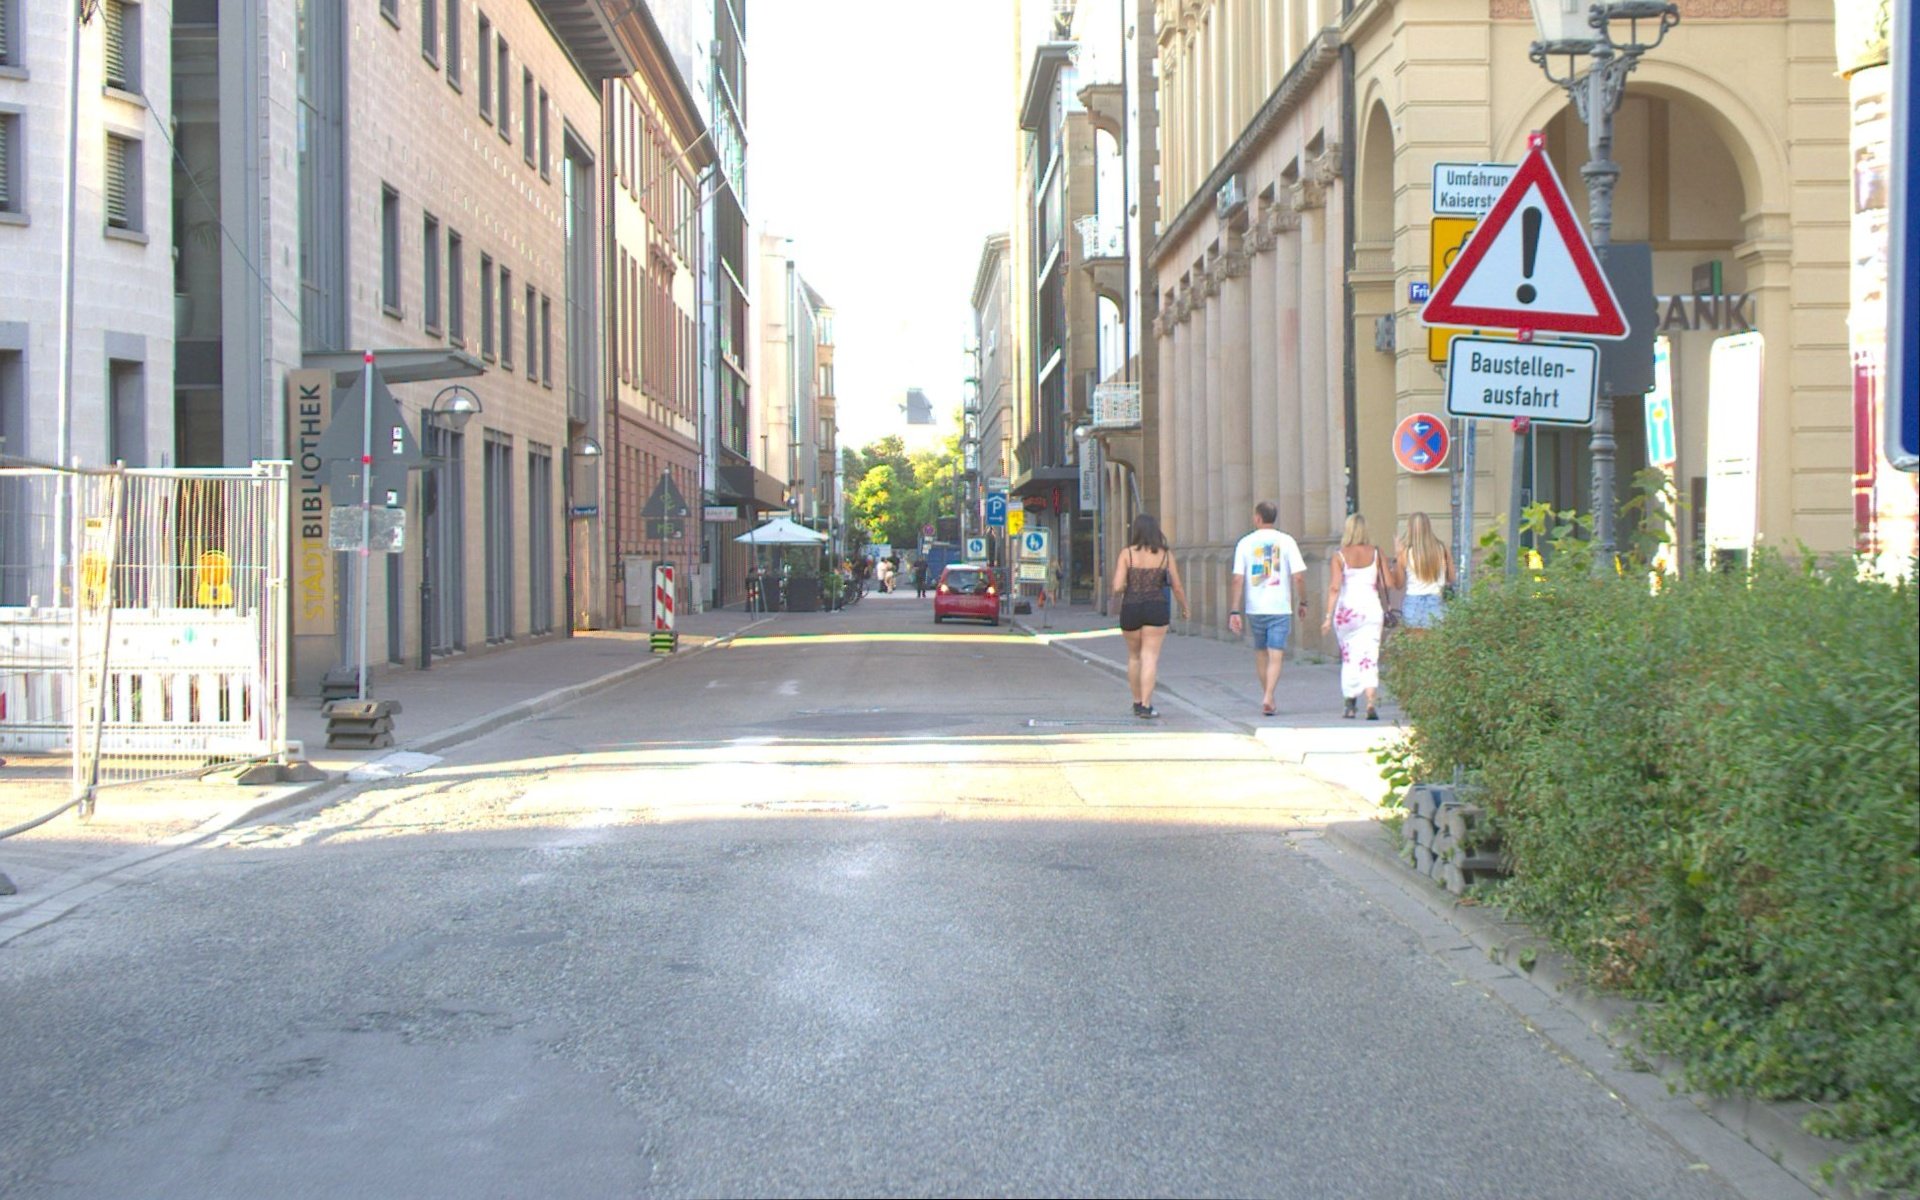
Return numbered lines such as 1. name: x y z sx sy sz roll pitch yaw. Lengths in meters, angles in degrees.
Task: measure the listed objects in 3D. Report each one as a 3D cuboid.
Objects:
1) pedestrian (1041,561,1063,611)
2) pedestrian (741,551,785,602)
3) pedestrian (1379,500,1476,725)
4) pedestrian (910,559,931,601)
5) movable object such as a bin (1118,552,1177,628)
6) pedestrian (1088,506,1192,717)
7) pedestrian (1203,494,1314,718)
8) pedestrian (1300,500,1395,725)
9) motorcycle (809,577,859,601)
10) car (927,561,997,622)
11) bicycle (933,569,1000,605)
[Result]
1. pedestrian: 2.740 -0.429 102.408 0.656 1.482 0.493 -1 0 1
2. pedestrian: -5.810 -0.690 101.555 1.290 1.482 0.661 0 0 -3
3. pedestrian: 3.801 0.093 27.995 0.636 1.797 0.772 -1 0 -2
4. pedestrian: -1.658 -0.834 143.270 0.865 1.707 0.852 0 0 -1
5. movable object such as a bin: 3.522 -0.197 64.734 0.990 1.387 1.241 -1 1 -1
6. pedestrian: 1.512 0.091 29.003 0.775 1.740 0.875 -1 0 -2
7. pedestrian: 2.536 0.047 29.278 0.812 1.869 0.875 -1 0 -2
8. pedestrian: 3.146 0.097 27.962 0.636 1.797 0.772 -1 0 -2
9. motorcycle: -4.612 -0.393 125.503 1.801 0.872 0.560 0 0 -5
10. car: 0.034 -0.213 85.655 1.649 1.422 3.535 2 0 0
11. bicycle: 0.195 -0.405 107.515 2.052 1.130 0.649 0 0 -4
